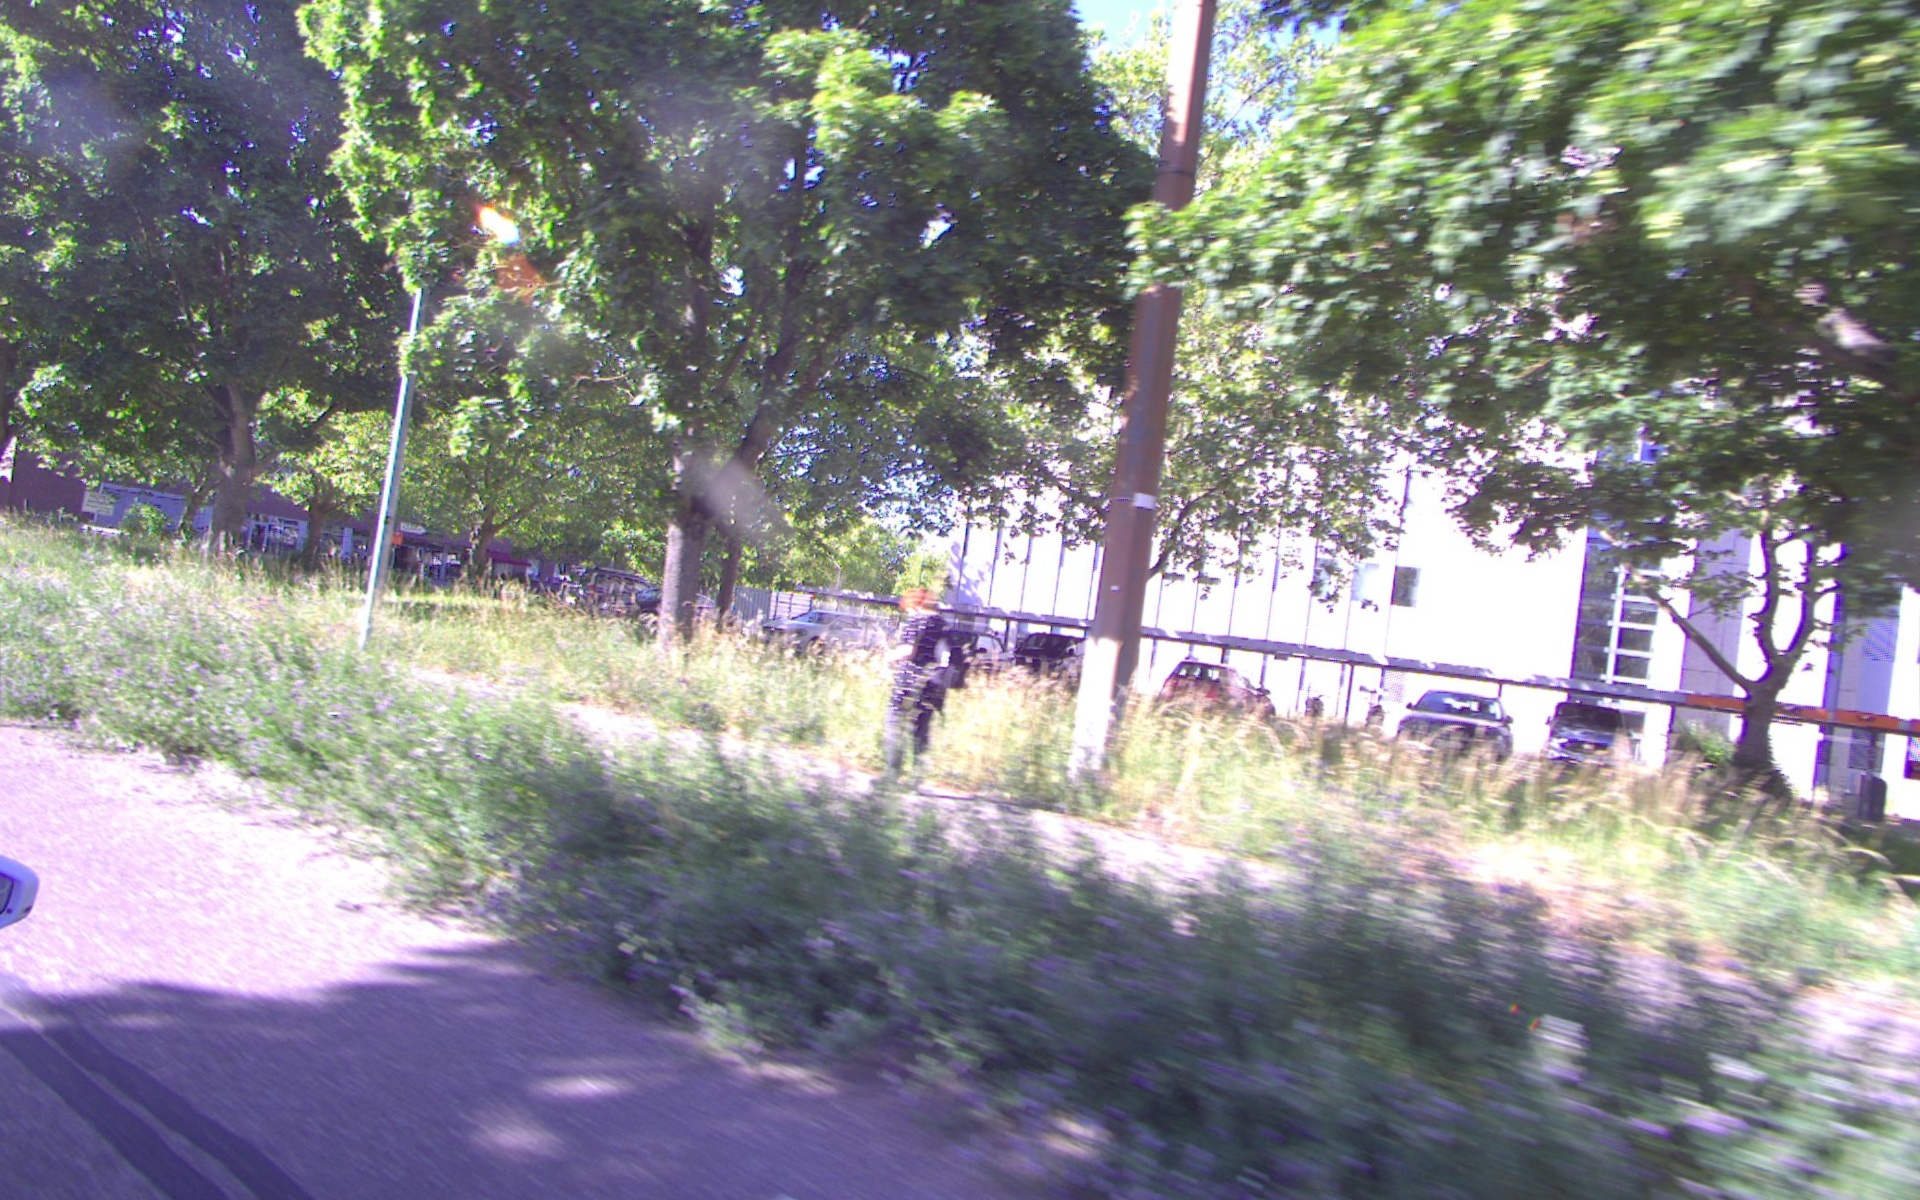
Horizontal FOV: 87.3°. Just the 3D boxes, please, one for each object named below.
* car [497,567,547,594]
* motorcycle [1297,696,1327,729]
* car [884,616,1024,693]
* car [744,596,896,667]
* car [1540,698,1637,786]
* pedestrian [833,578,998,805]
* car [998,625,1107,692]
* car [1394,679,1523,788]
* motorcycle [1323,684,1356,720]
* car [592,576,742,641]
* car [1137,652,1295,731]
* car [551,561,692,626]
[{"bbox_3d":[-40.538,-1.772,93.201,1.839,1.849,4.003,7,-2,22],"label":"car"},{"bbox_3d":[11.444,3.656,32.697,0.529,0.982,1.652,7,-2,30],"label":"motorcycle"},{"bbox_3d":[-0.058,1.414,25.163,1.677,1.543,4.005,7,-2,28],"label":"car"},{"bbox_3d":[-3.843,0.924,28.360,1.795,1.448,4.171,7,-3,34],"label":"car"},{"bbox_3d":[17.705,3.924,28.517,1.941,1.973,4.758,8,-1,31],"label":"car"},{"bbox_3d":[-0.331,0.696,7.793,0.750,1.587,0.826,7,-1,32],"label":"pedestrian"},{"bbox_3d":[3.499,2.217,37.257,1.926,2.037,4.593,7,-2,33],"label":"car"},{"bbox_3d":[9.679,2.505,19.492,1.851,1.615,4.403,7,-2,28],"label":"car"},{"bbox_3d":[16.478,4.413,43.638,0.998,1.336,3.044,7,-2,25],"label":"motorcycle"},{"bbox_3d":[-9.096,0.299,31.599,1.662,1.476,4.362,7,-2,34],"label":"car"},{"bbox_3d":[5.884,2.090,22.782,1.910,1.340,4.295,8,-1,36],"label":"car"},{"bbox_3d":[-10.892,-0.173,32.652,1.709,1.522,4.037,7,-2,32],"label":"car"}]
